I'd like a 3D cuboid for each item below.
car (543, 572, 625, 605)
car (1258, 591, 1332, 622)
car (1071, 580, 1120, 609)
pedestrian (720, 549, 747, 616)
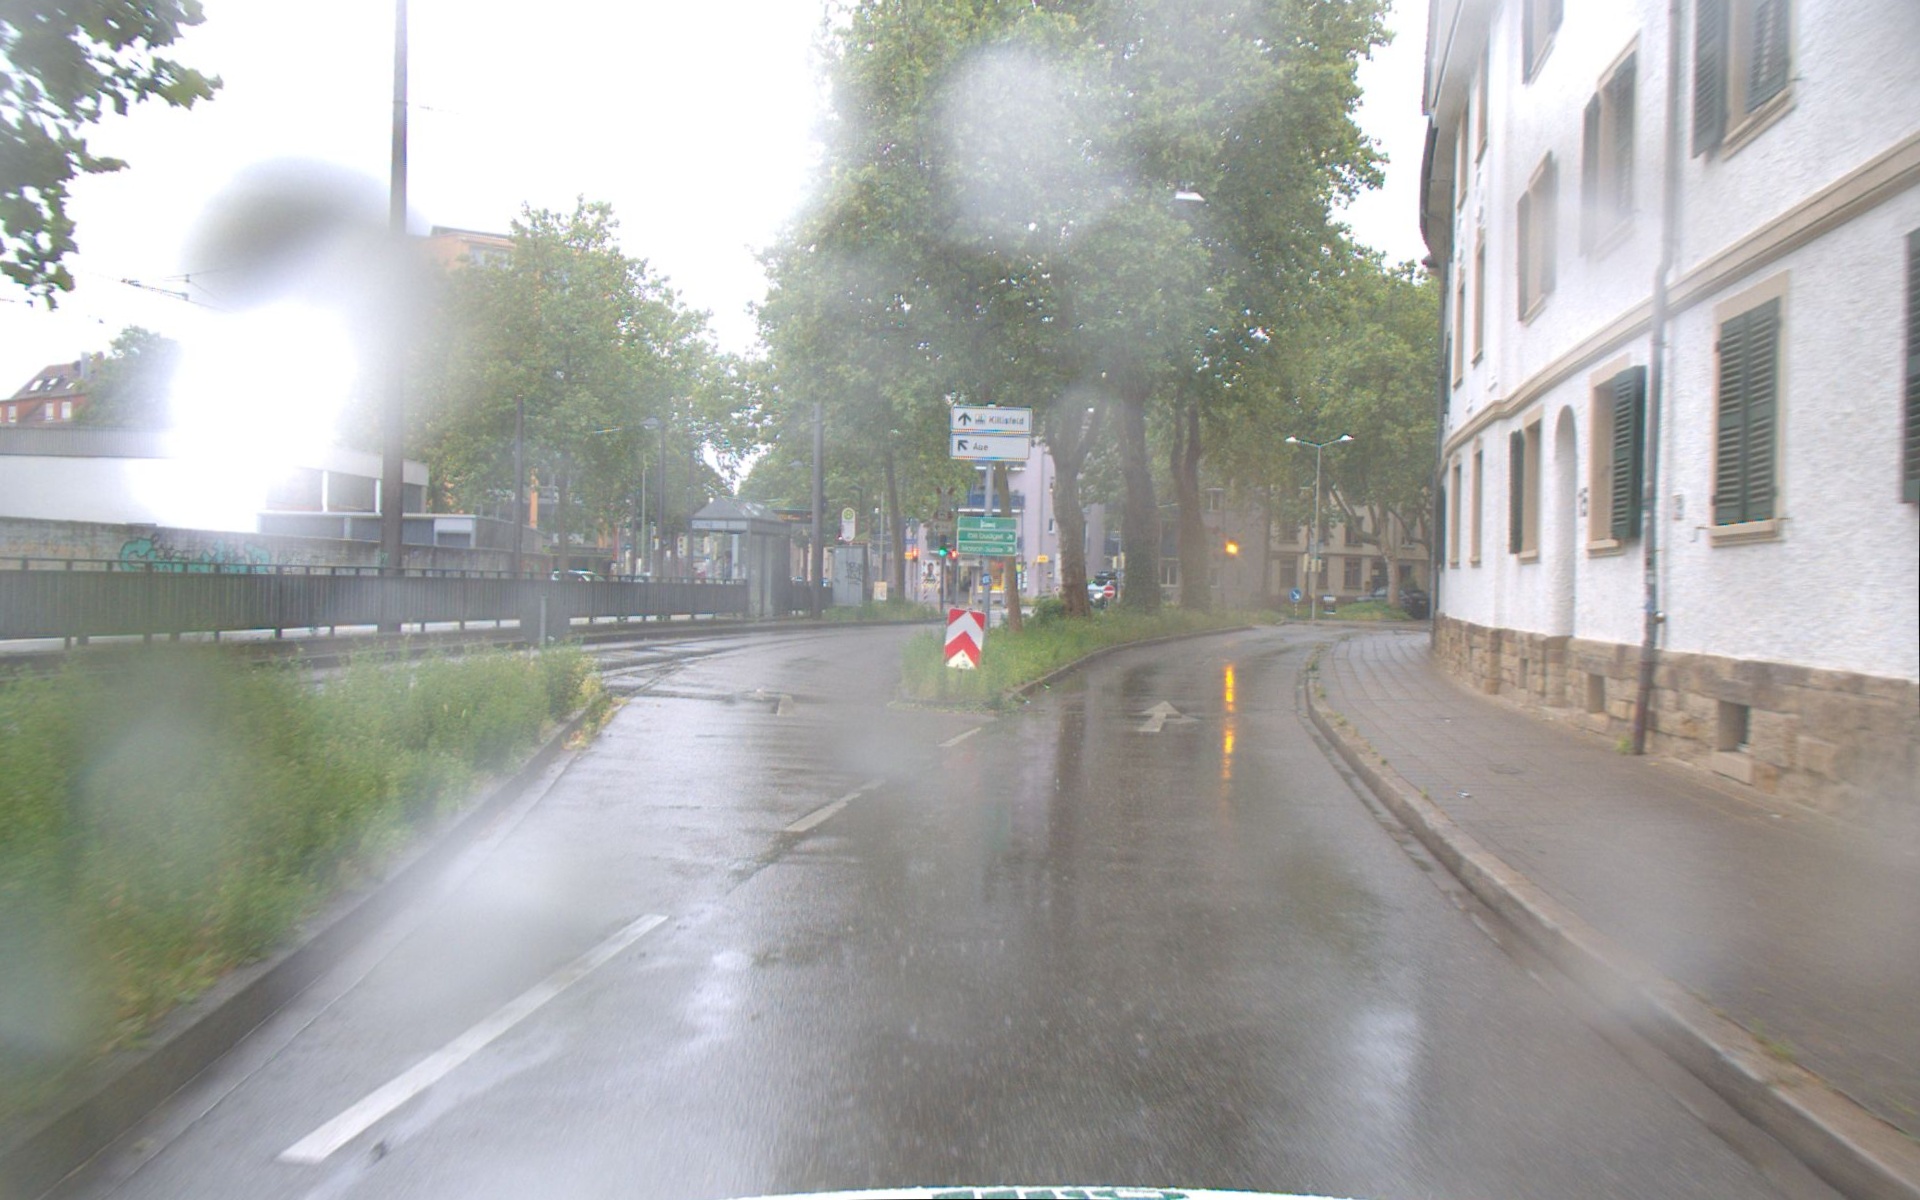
[{"bbox_3d":[-19.717,-0.587,86.756,3.932,1.680,1.968,0,0,31],"label":"car"},{"bbox_3d":[17.220,0.339,85.033,3.412,1.550,1.518,0,0,28],"label":"car"},{"bbox_3d":[7.741,-0.315,94.541,1.690,1.579,3.558,0,0,24],"label":"car"},{"bbox_3d":[-6.014,-0.464,43.926,0.573,1.761,0.564,0,0,-23],"label":"pedestrian"}]
